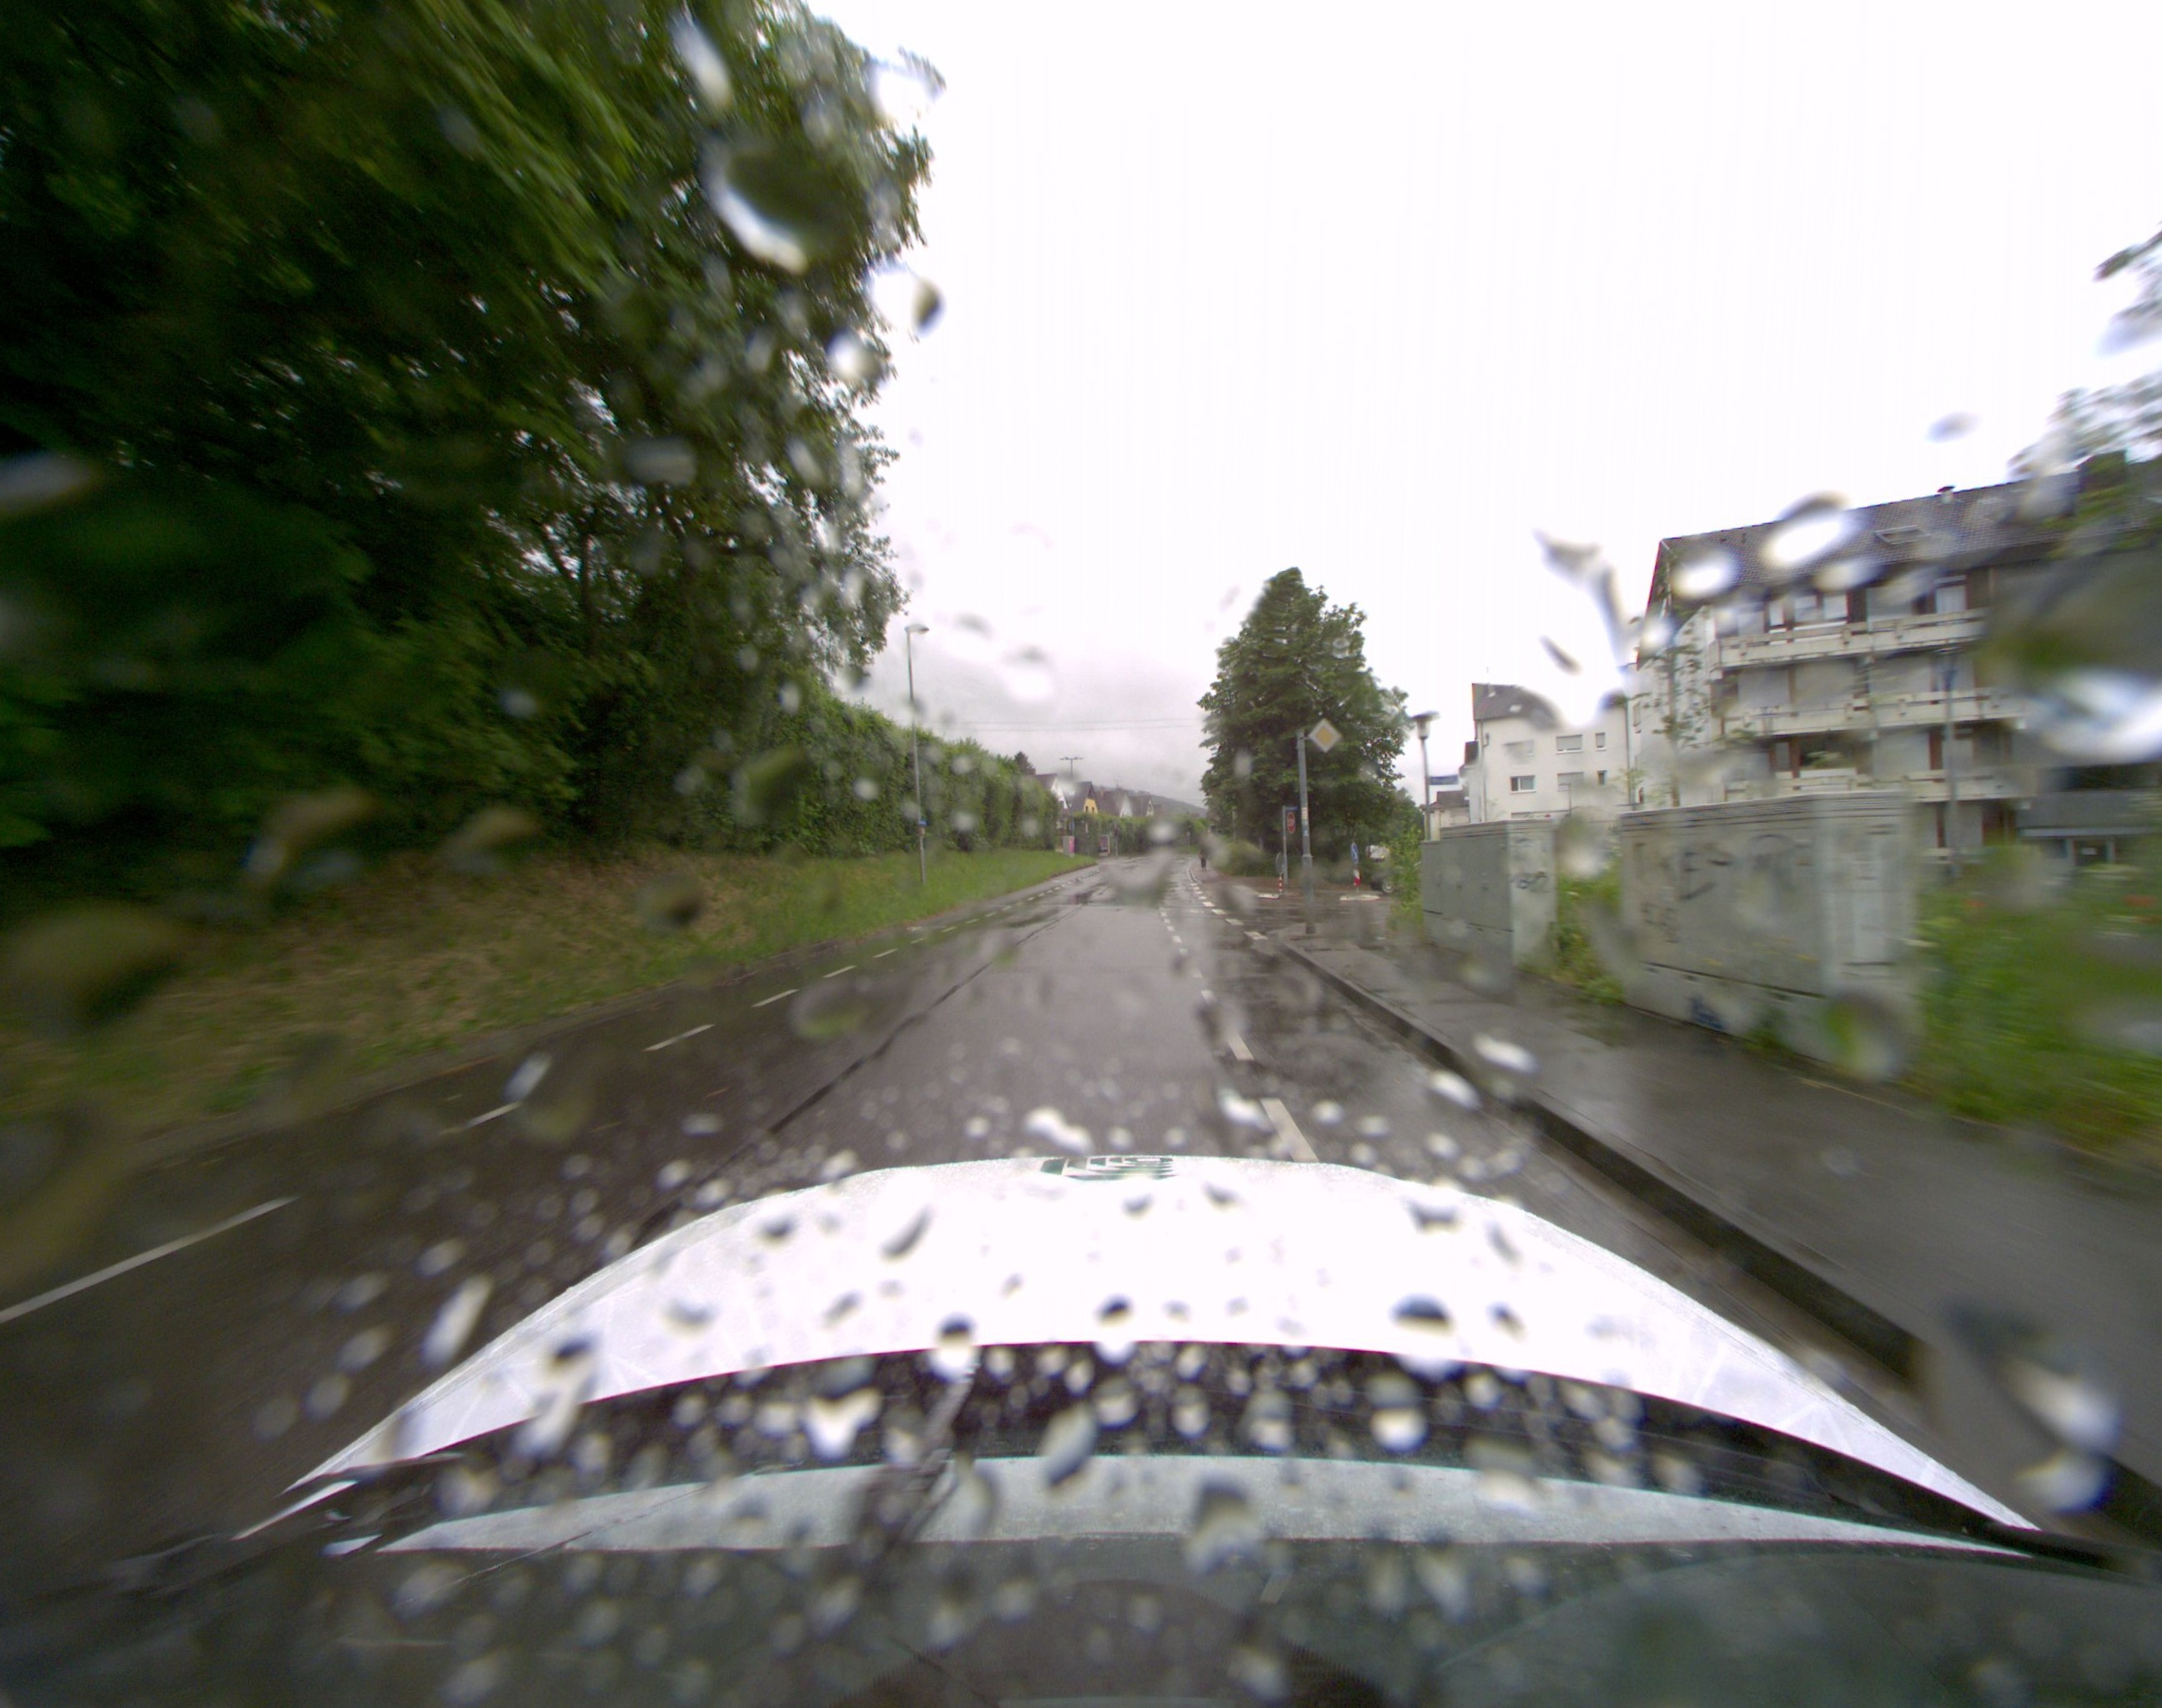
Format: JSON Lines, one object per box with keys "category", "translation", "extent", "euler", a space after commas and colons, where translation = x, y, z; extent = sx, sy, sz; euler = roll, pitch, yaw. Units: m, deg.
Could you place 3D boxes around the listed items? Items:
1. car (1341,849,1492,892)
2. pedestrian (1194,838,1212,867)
{"category": "car", "translation": [11.781, 0.528, 28.720], "extent": [4.556, 1.387, 1.959], "euler": [0, 1, 37]}
{"category": "pedestrian", "translation": [7.209, -0.084, 48.154], "extent": [0.915, 1.675, 1.059], "euler": [-3, 1, 7]}
